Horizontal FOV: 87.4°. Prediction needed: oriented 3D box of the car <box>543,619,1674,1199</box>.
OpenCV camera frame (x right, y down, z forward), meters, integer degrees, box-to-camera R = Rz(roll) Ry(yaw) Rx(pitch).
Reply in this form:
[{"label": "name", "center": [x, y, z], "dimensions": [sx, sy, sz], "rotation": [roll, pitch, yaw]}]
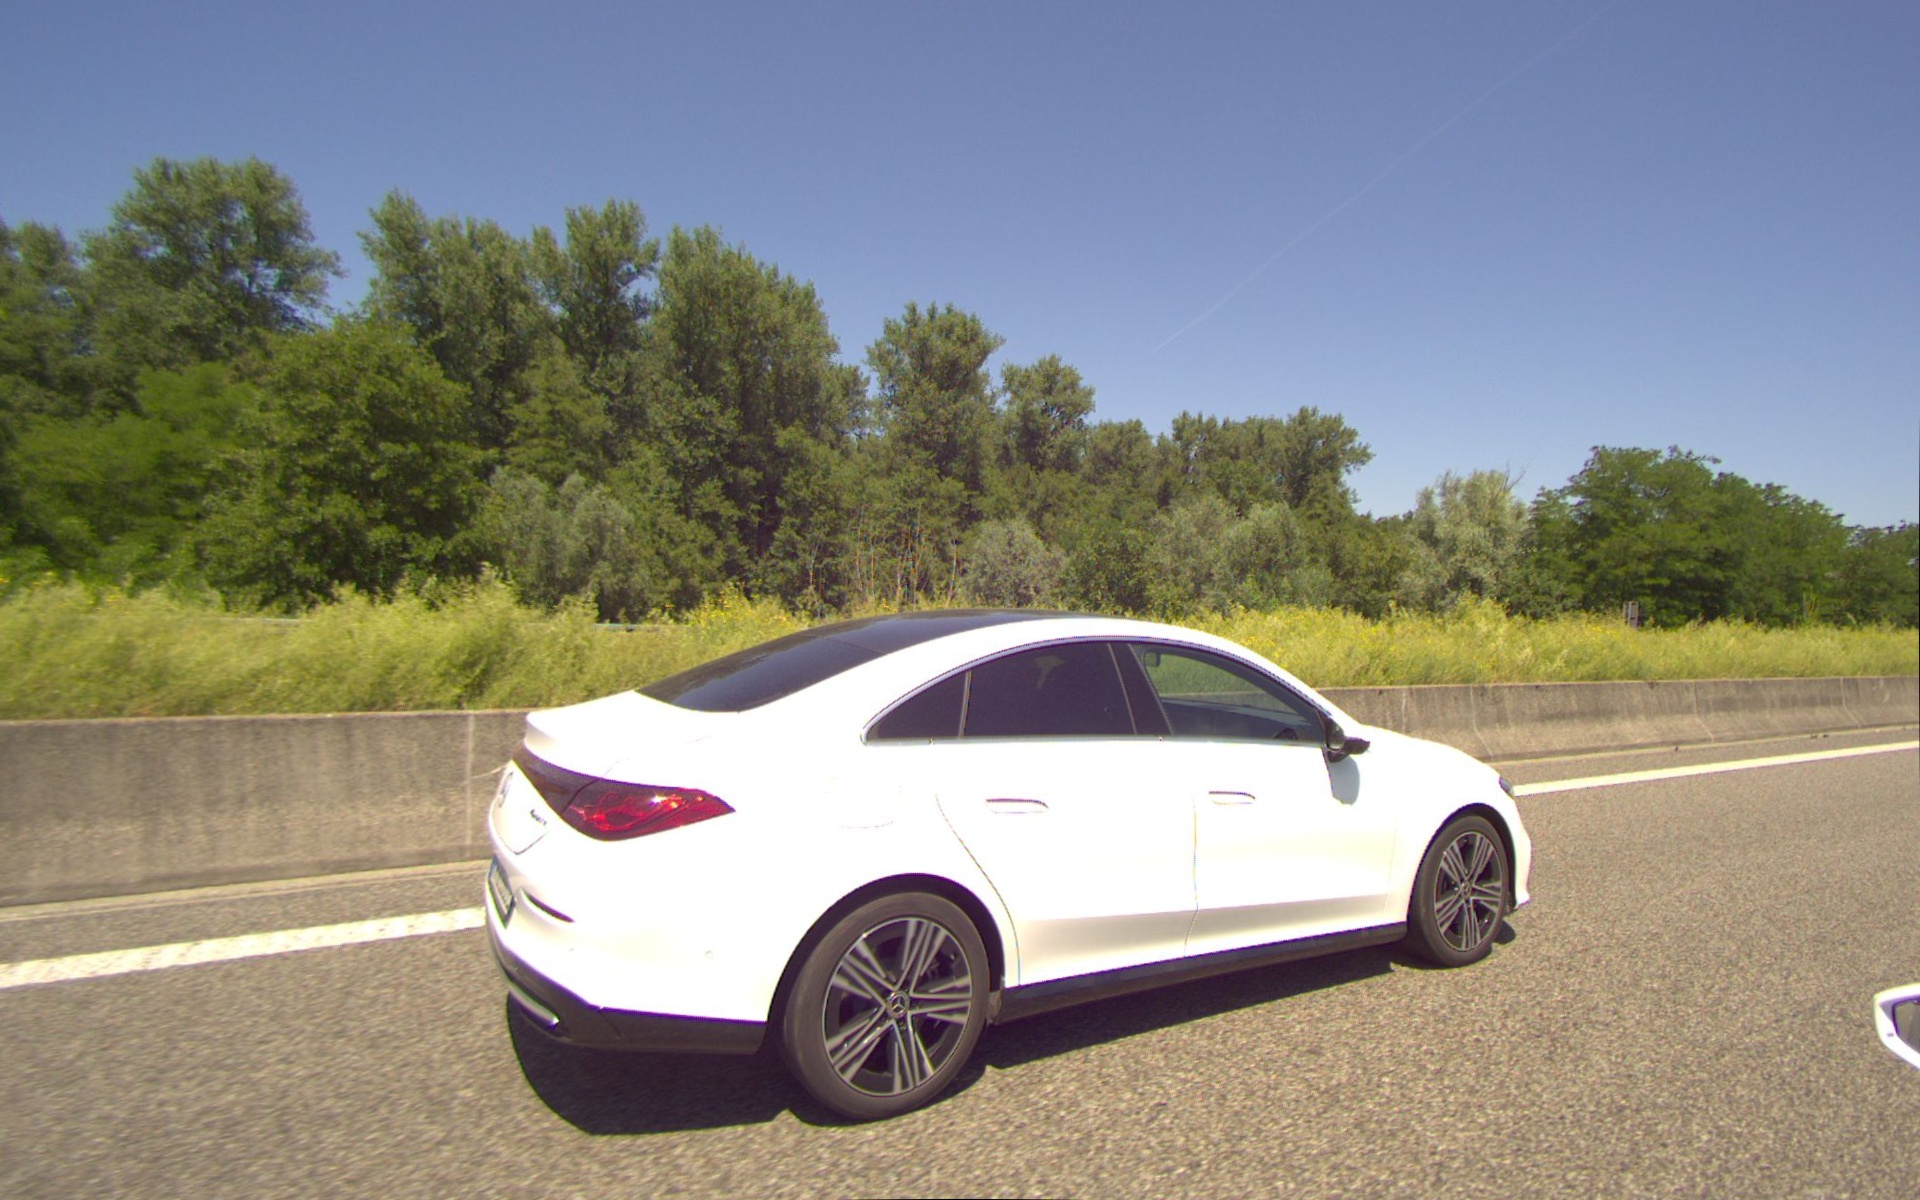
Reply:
[{"label": "car", "center": [0.953, 0.828, 4.501], "dimensions": [5.048, 1.467, 1.758], "rotation": [0, -1, -30]}]
